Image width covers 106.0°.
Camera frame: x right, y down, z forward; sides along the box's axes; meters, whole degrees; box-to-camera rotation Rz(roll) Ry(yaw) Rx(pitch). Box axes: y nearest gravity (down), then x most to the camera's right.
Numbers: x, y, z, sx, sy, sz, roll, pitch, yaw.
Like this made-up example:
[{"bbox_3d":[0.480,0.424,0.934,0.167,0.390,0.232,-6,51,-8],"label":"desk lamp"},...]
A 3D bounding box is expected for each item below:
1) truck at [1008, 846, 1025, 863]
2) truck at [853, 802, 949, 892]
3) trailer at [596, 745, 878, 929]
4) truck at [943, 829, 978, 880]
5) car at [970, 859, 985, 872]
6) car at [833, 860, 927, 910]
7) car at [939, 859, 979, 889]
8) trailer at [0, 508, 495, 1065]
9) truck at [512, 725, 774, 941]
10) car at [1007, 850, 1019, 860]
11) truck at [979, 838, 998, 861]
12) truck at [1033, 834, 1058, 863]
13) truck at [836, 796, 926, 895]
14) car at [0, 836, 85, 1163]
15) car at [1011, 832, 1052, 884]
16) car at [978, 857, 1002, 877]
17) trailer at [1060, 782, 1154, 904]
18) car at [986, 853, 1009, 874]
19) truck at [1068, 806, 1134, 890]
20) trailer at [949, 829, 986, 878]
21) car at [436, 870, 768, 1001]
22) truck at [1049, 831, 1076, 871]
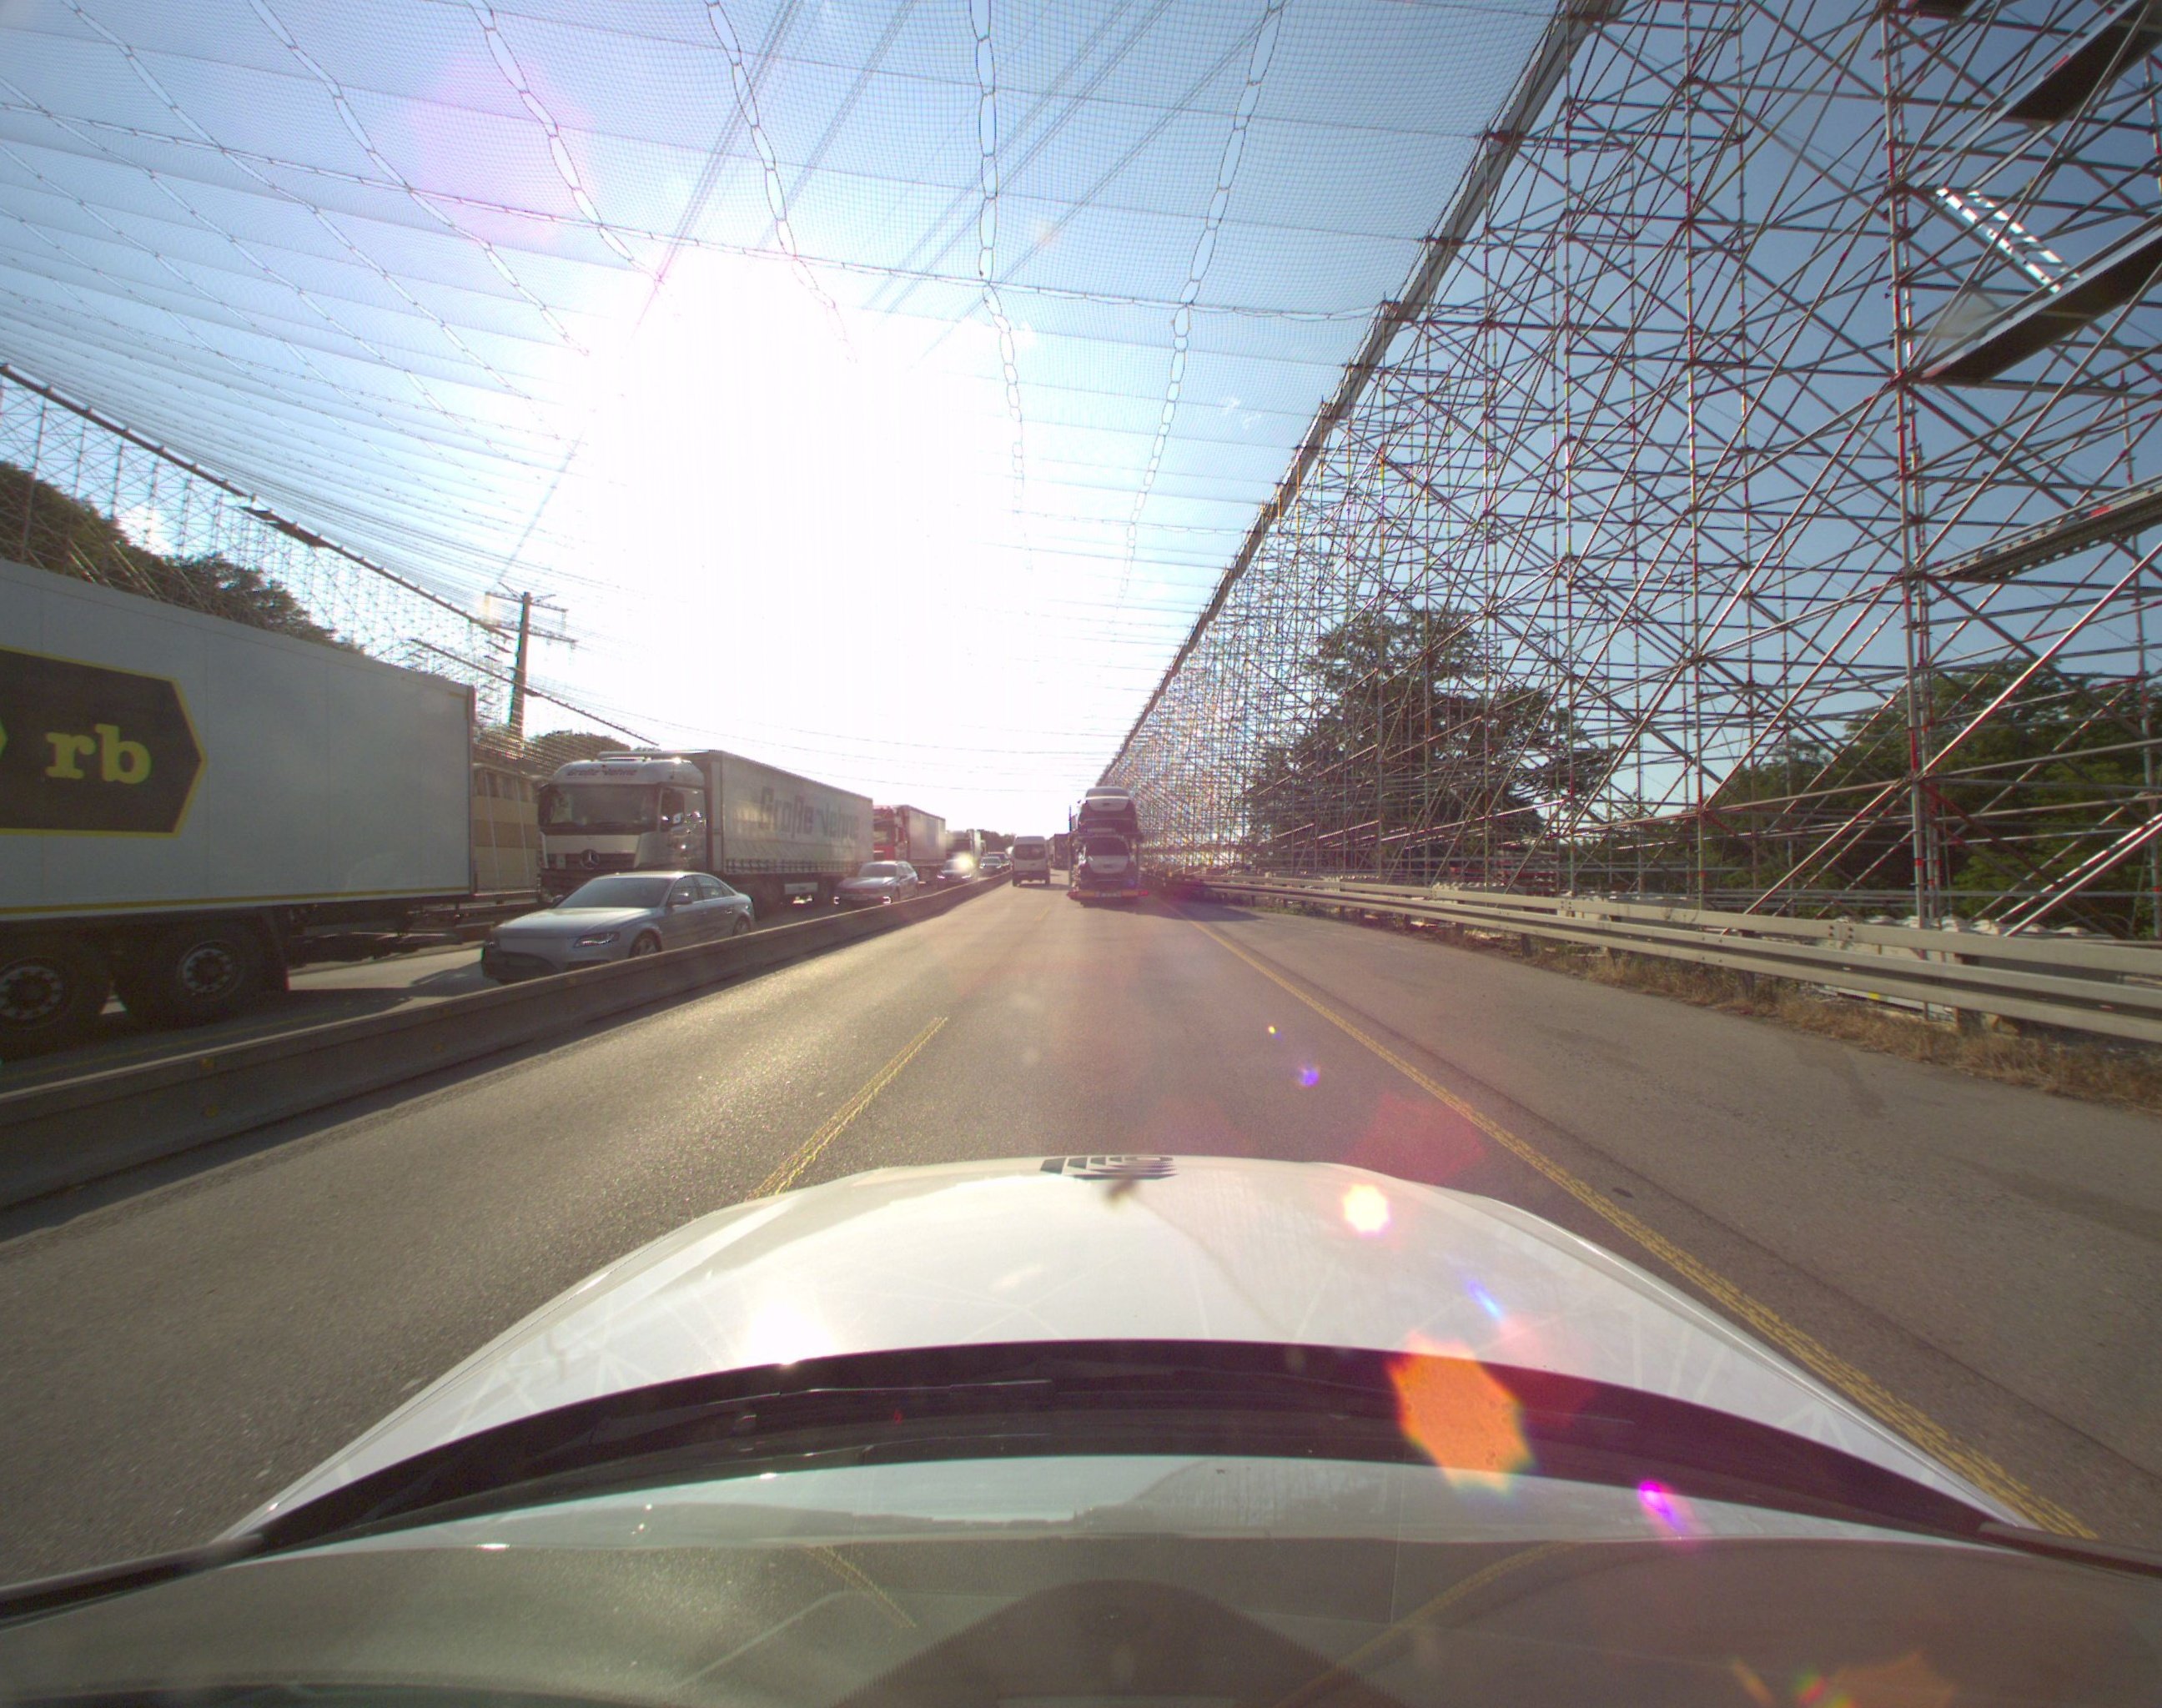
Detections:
[{"bbox_3d":[-14.578,0.014,183.451,2.617,3.723,9.623,0,0,-11],"label":"truck"},{"bbox_3d":[-9.453,-0.263,44.656,2.781,4.141,13.792,-1,-1,-3],"label":"truck"},{"bbox_3d":[-9.569,-0.315,25.496,2.789,4.141,13.965,-1,-1,0],"label":"trailer"},{"bbox_3d":[-10.505,0.021,71.361,2.658,4.230,6.093,-1,0,-5],"label":"truck"},{"bbox_3d":[-12.635,1.405,99.540,1.632,1.486,3.993,0,0,-5],"label":"car"},{"bbox_3d":[-6.310,0.910,26.098,1.726,1.439,4.838,0,0,1],"label":"car"},{"bbox_3d":[-6.113,0.974,41.252,1.647,1.464,4.393,0,0,-4],"label":"car"},{"bbox_3d":[-9.815,-0.524,4.548,2.756,4.334,13.883,-1,-1,1],"label":"trailer"},{"bbox_3d":[-9.618,-0.383,18.770,2.778,4.141,5.933,-1,-1,0],"label":"truck"},{"bbox_3d":[-11.161,0.231,134.106,1.711,1.618,3.491,-1,-1,-10],"label":"car"},{"bbox_3d":[-14.925,-0.694,130.444,2.594,3.473,12.354,0,0,-9],"label":"truck"},{"bbox_3d":[-5.713,-0.766,132.032,3.678,4.220,13.656,-4,0,-2],"label":"truck"},{"bbox_3d":[-9.142,-0.329,37.972,2.781,4.141,6.671,-1,-1,-3],"label":"truck"},{"bbox_3d":[-6.449,0.750,2.067,1.745,1.657,4.865,-1,0,2],"label":"car"},{"bbox_3d":[-2.632,0.253,43.834,1.951,2.621,3.997,-2,-1,-1],"label":"car"},{"bbox_3d":[-7.241,1.031,65.078,1.740,1.535,4.259,0,0,-5],"label":"car"},{"bbox_3d":[0.864,-0.270,32.629,2.859,3.725,14.946,-1,-1,0],"label":"trailer"},{"bbox_3d":[-7.805,0.875,76.039,1.870,1.935,4.856,0,0,-3],"label":"car"},{"bbox_3d":[0.901,-0.219,40.026,2.872,3.702,7.324,-1,-1,0],"label":"truck"},{"bbox_3d":[-10.735,-0.018,78.304,2.649,4.233,13.897,0,0,-4],"label":"trailer"},{"bbox_3d":[-6.294,0.958,11.551,1.725,1.377,4.891,1,0,1],"label":"car"},{"bbox_3d":[-2.222,-0.325,94.794,2.726,4.385,11.507,0,0,-3],"label":"truck"}]
